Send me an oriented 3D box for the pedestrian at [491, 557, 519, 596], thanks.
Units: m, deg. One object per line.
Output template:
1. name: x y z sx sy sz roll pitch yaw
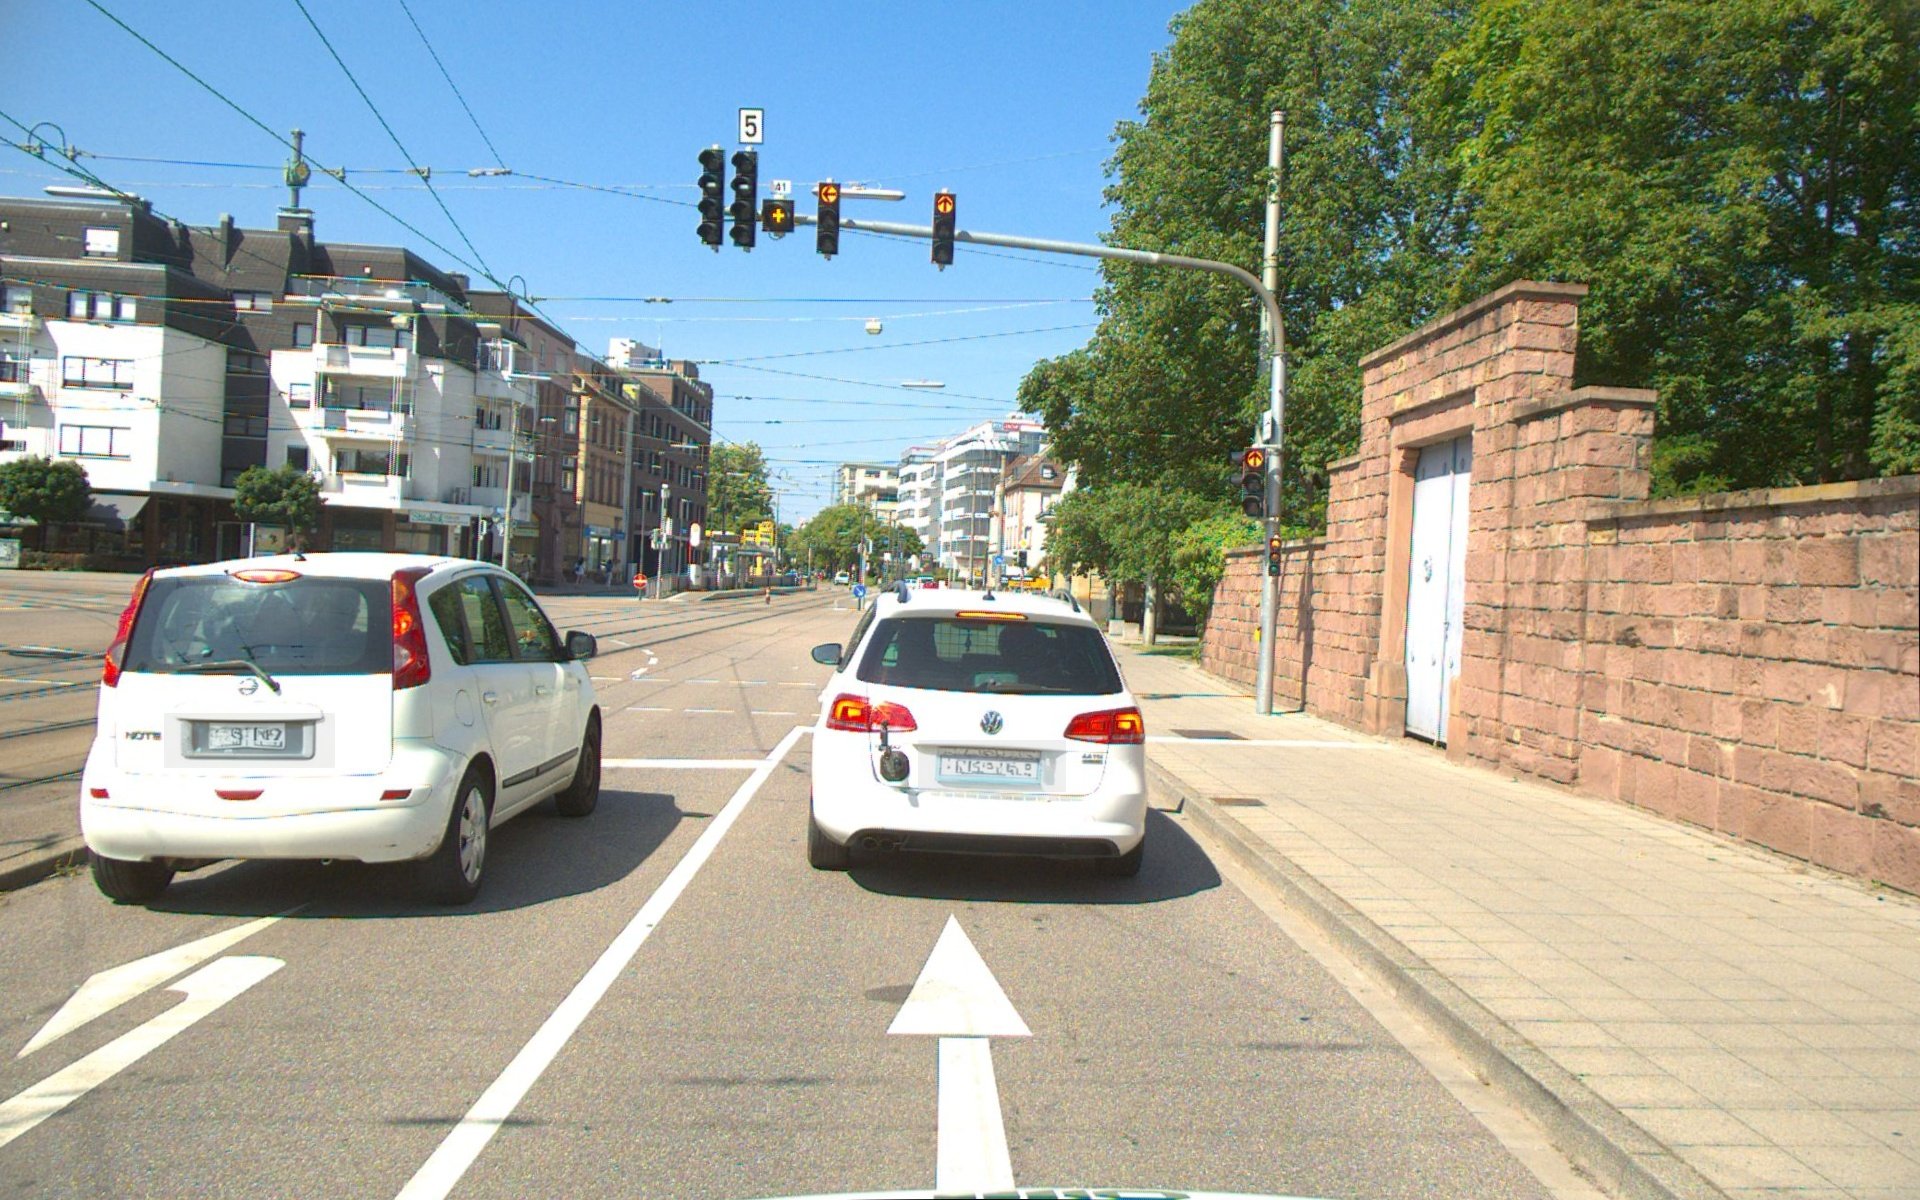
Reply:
1. pedestrian: -21.194 -1.094 77.002 0.966 1.773 0.852 1 -1 -40

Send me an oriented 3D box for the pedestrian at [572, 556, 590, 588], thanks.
1. pedestrian: -21.505 -1.587 93.761 0.845 1.773 0.973 1 -1 -6

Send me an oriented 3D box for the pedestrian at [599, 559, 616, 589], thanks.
1. pedestrian: -21.221 -1.549 99.644 0.845 1.773 0.973 1 -1 -6

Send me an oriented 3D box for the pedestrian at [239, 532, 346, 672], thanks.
1. pedestrian: -8.226 0.029 20.426 0.953 1.680 0.955 1 -1 -5

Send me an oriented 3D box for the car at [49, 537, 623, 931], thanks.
1. car: -2.941 0.504 8.677 1.608 1.593 3.803 1 1 -1

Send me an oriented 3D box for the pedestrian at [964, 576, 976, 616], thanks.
1. pedestrian: 0.613 -0.240 99.937 0.675 2.366 1.232 1 -1 1

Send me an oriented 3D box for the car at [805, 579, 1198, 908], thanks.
1. car: 0.160 0.632 9.549 1.771 1.473 3.999 1 1 -1

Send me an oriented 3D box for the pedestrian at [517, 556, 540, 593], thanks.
1. pedestrian: -21.278 -1.255 81.583 0.843 1.773 0.975 1 -1 3
